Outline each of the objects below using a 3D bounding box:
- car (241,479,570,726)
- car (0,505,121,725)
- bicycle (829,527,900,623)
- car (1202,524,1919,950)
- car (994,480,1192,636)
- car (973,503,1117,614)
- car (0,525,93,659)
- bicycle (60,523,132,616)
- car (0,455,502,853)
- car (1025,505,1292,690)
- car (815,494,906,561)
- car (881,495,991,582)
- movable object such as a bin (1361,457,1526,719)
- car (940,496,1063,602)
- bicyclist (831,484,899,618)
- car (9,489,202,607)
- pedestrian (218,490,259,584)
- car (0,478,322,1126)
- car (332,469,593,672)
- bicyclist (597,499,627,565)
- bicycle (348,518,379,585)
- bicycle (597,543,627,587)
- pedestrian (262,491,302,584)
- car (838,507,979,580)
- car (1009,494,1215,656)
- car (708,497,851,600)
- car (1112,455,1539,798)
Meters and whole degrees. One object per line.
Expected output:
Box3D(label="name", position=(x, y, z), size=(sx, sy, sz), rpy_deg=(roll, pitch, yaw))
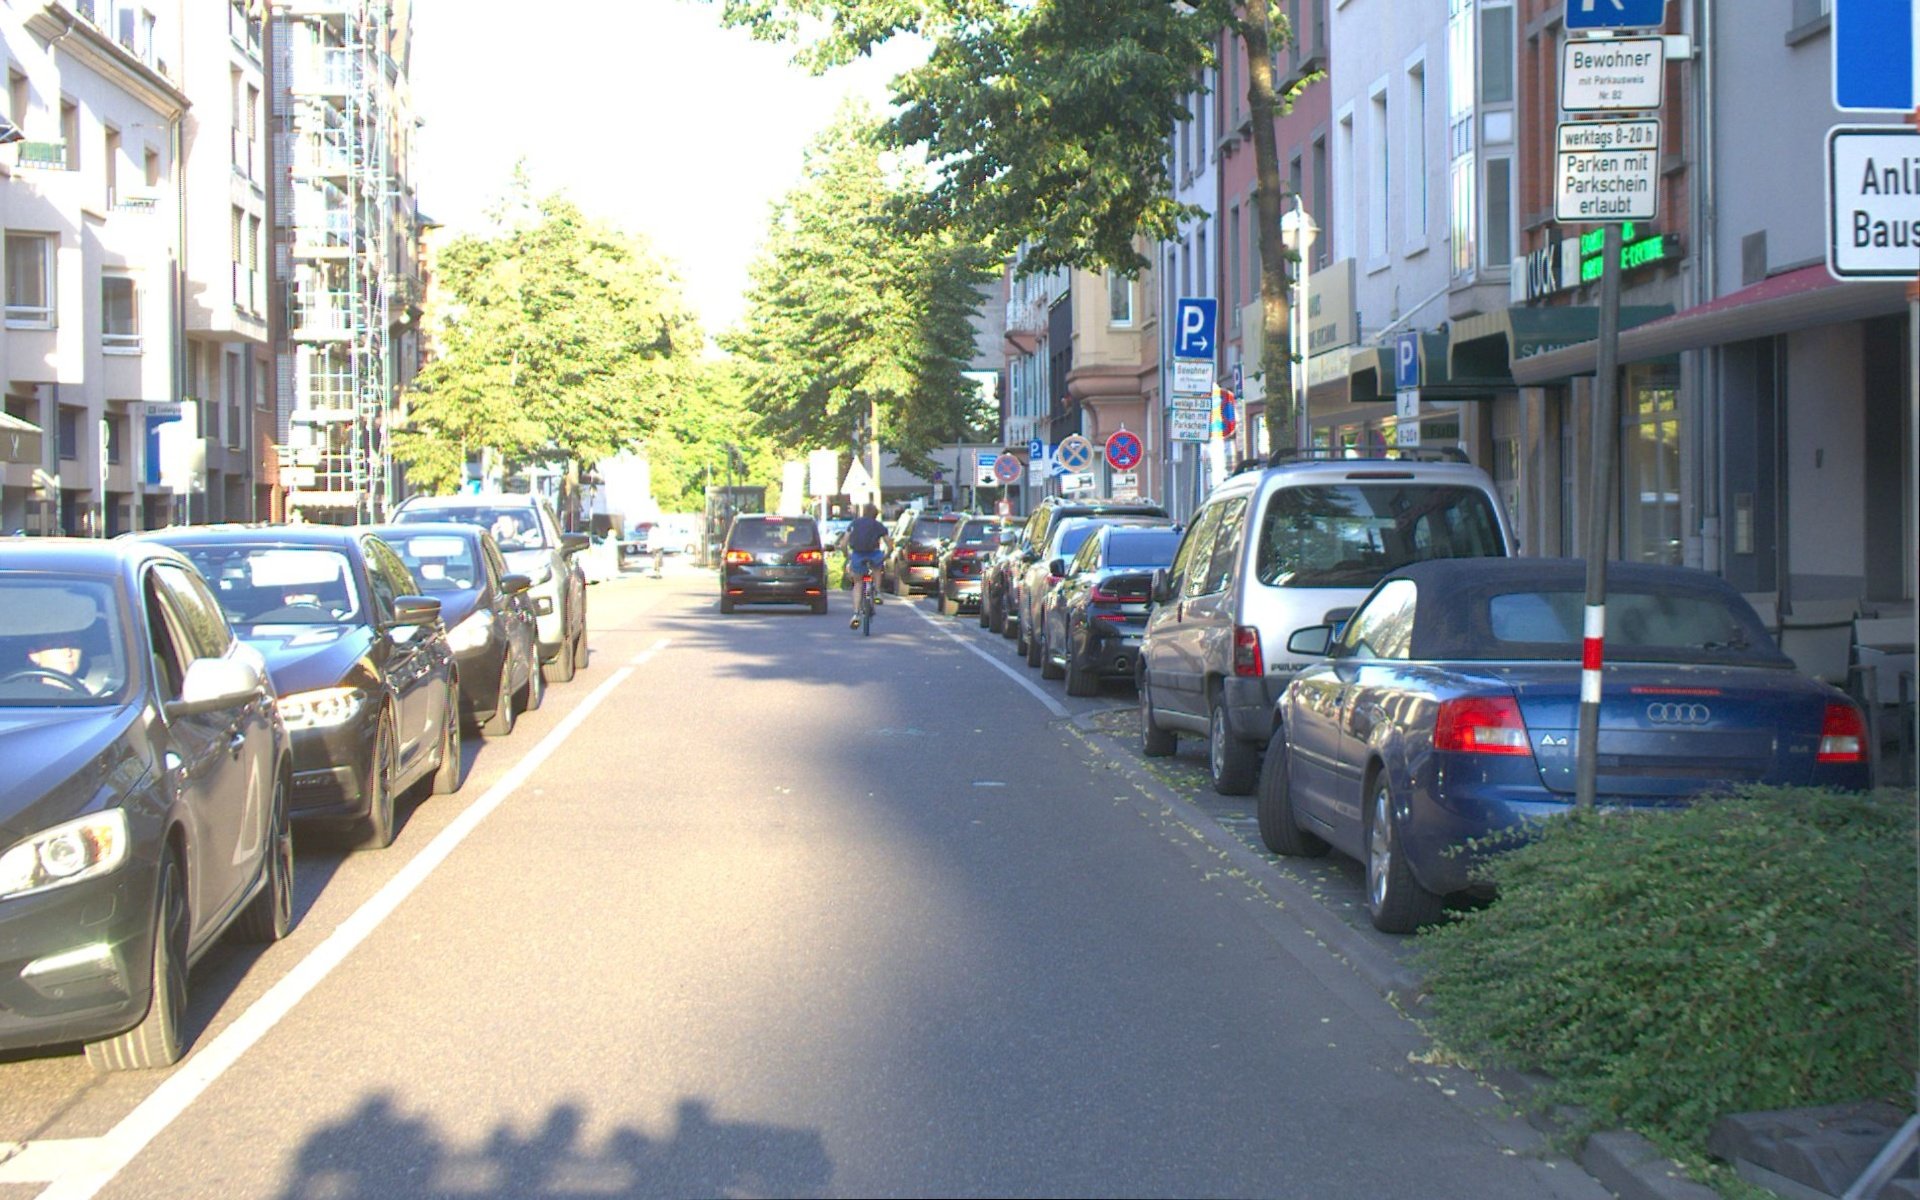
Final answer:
Box3D(label="car", position=(-3.808, -0.018, 24.278), size=(1.723, 1.544, 4.465), rpy_deg=(-1, 1, -2))
Box3D(label="car", position=(-7.673, 0.121, 25.316), size=(1.993, 1.506, 4.510), rpy_deg=(-3, 1, -2))
Box3D(label="bicycle", position=(-1.242, -0.331, 44.294), size=(0.780, 1.200, 2.021), rpy_deg=(-1, 1, -5))
Box3D(label="car", position=(2.226, 0.416, 13.564), size=(1.936, 1.371, 4.183), rpy_deg=(1, 1, -4))
Box3D(label="car", position=(1.544, -0.516, 41.762), size=(1.883, 1.748, 5.059), rpy_deg=(1, 1, -3))
Box3D(label="car", position=(1.162, -0.592, 48.782), size=(1.762, 1.478, 4.307), rpy_deg=(1, 1, -2))
Box3D(label="car", position=(-10.773, -0.123, 37.823), size=(1.660, 1.398, 3.884), rpy_deg=(1, 1, -3))
Box3D(label="bicycle", position=(-13.101, -0.464, 52.198), size=(0.610, 1.370, 2.359), rpy_deg=(1, 1, -3))
Box3D(label="car", position=(-3.451, 0.195, 16.765), size=(1.946, 1.639, 4.616), rpy_deg=(-1, 1, -2))
Box3D(label="car", position=(1.617, -0.080, 29.505), size=(1.752, 1.415, 4.510), rpy_deg=(1, 2, -3))
Box3D(label="car", position=(-3.026, -2.166, 103.267), size=(2.264, 1.760, 4.510), rpy_deg=(6, 0, -6))
Box3D(label="car", position=(-0.528, -1.246, 70.041), size=(1.824, 1.689, 4.370), rpy_deg=(1, 1, -6))
Box3D(label="movable object such as a bin", position=(3.349, -0.088, 23.901), size=(0.835, 1.768, 1.206), rpy_deg=(1, 1, -6))
Box3D(label="car", position=(0.645, -0.839, 56.873), size=(1.812, 1.662, 4.206), rpy_deg=(1, 1, -2))
Box3D(label="bicyclist", position=(-1.228, -0.627, 44.256), size=(0.780, 1.690, 1.007), rpy_deg=(-1, 1, -5))
Box3D(label="car", position=(-11.072, -0.675, 44.764), size=(1.711, 1.449, 3.725), rpy_deg=(1, 1, -2))
Box3D(label="pedestrian", position=(-13.644, -1.190, 65.025), size=(0.716, 1.761, 0.694), rpy_deg=(1, 1, -10))
Box3D(label="car", position=(-3.179, 0.418, 10.484), size=(1.958, 1.542, 4.511), rpy_deg=(-1, 2, -5))
Box3D(label="car", position=(-4.376, -0.281, 30.882), size=(1.940, 1.639, 4.739), rpy_deg=(-1, 1, -4))
Box3D(label="bicyclist", position=(-9.661, -1.887, 95.467), size=(0.780, 1.823, 1.007), rpy_deg=(-1, 1, -5))
Box3D(label="bicycle", position=(-12.843, -1.049, 73.995), size=(0.584, 1.391, 3.162), rpy_deg=(1, 1, -11))
Box3D(label="bicycle", position=(-9.660, -0.976, 95.558), size=(0.780, 1.200, 2.021), rpy_deg=(-1, 1, -5))
Box3D(label="pedestrian", position=(-12.837, -1.189, 65.120), size=(0.716, 1.734, 0.739), rpy_deg=(1, 1, -10))
Box3D(label="car", position=(-1.146, -1.248, 76.039), size=(2.968, 1.531, 1.434), rpy_deg=(1, 1, -6))
Box3D(label="car", position=(1.488, -0.276, 35.410), size=(1.812, 1.522, 4.994), rpy_deg=(1, 1, -1))
Box3D(label="car", position=(-2.927, -0.852, 56.636), size=(1.993, 1.596, 4.509), rpy_deg=(1, 1, 1))
Box3D(label="car", position=(2.002, 0.075, 19.964), size=(1.654, 1.772, 4.013), rpy_deg=(1, 2, -6))
